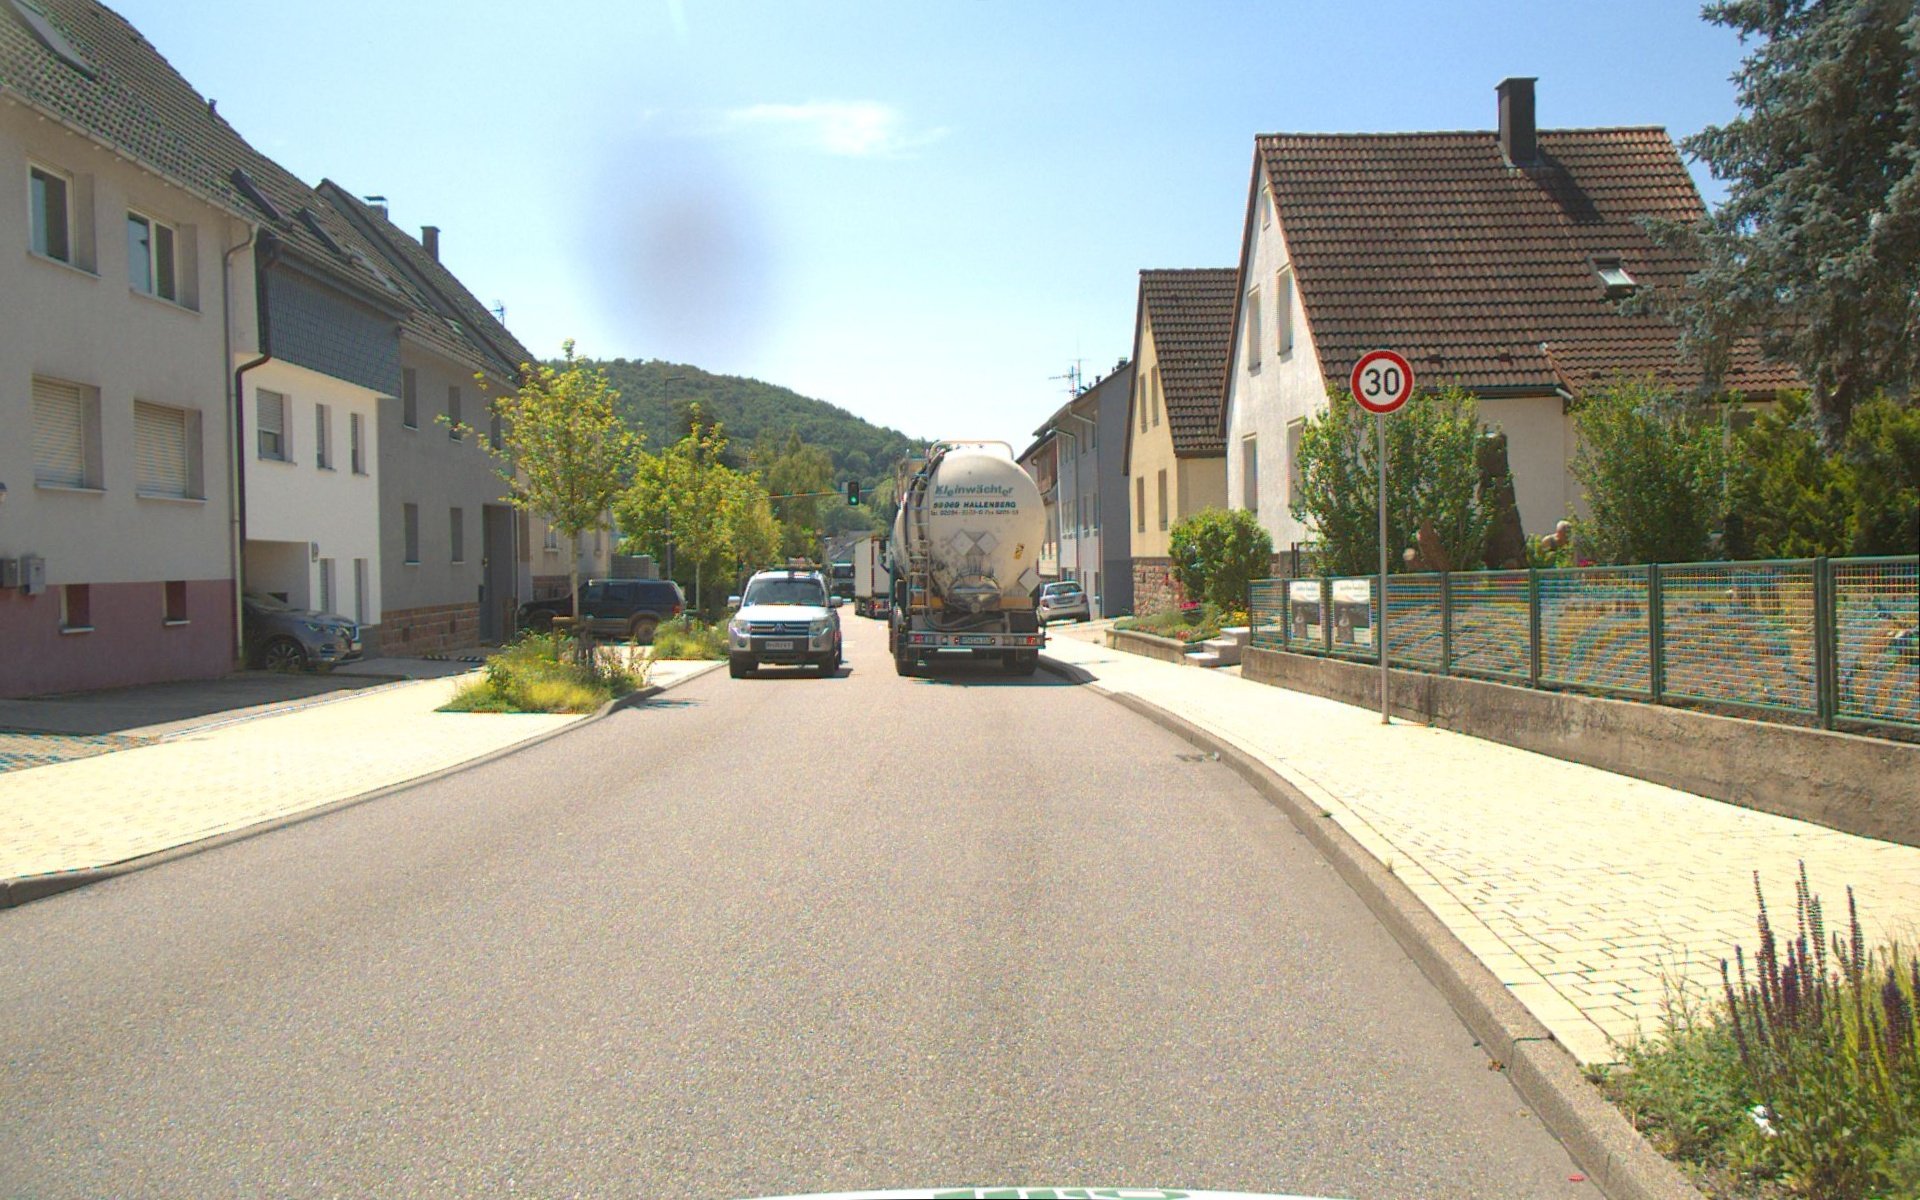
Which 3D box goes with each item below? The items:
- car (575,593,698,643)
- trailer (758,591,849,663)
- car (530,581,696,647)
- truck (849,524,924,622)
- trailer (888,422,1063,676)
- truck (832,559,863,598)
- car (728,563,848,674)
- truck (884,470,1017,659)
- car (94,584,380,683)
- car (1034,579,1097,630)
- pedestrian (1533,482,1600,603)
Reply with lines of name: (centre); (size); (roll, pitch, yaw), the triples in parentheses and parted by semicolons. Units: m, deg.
car: (-9.867, 0.535, 50.442); (3.476, 1.464, 1.695); (-1, 0, 32)
trailer: (-3.241, 0.528, 34.953); (1.542, 1.420, 4.402); (-1, 0, -1)
car: (-9.656, 0.373, 46.291); (4.307, 1.781, 1.877); (0, 0, -4)
truck: (-3.996, -1.251, 87.396); (2.793, 4.761, 11.317); (1, -1, -8)
trailer: (0.023, -0.845, 31.818); (2.740, 4.071, 10.317); (0, 0, -3)
truck: (-10.375, -1.977, 153.532); (2.674, 3.430, 8.630); (0, 0, -3)
car: (-3.085, 0.313, 30.541); (1.851, 1.893, 4.576); (0, 0, -2)
truck: (-0.343, -0.771, 38.361); (2.752, 4.006, 6.095); (0, 0, -3)
car: (-11.872, 0.527, 27.358); (3.907, 1.572, 1.831); (0, 0, -2)
car: (3.616, 0.142, 57.345); (1.755, 1.568, 4.518); (-4, 0, -1)
pedestrian: (8.591, -0.810, 23.455); (0.592, 1.643, 0.552); (-5, 0, -3)
